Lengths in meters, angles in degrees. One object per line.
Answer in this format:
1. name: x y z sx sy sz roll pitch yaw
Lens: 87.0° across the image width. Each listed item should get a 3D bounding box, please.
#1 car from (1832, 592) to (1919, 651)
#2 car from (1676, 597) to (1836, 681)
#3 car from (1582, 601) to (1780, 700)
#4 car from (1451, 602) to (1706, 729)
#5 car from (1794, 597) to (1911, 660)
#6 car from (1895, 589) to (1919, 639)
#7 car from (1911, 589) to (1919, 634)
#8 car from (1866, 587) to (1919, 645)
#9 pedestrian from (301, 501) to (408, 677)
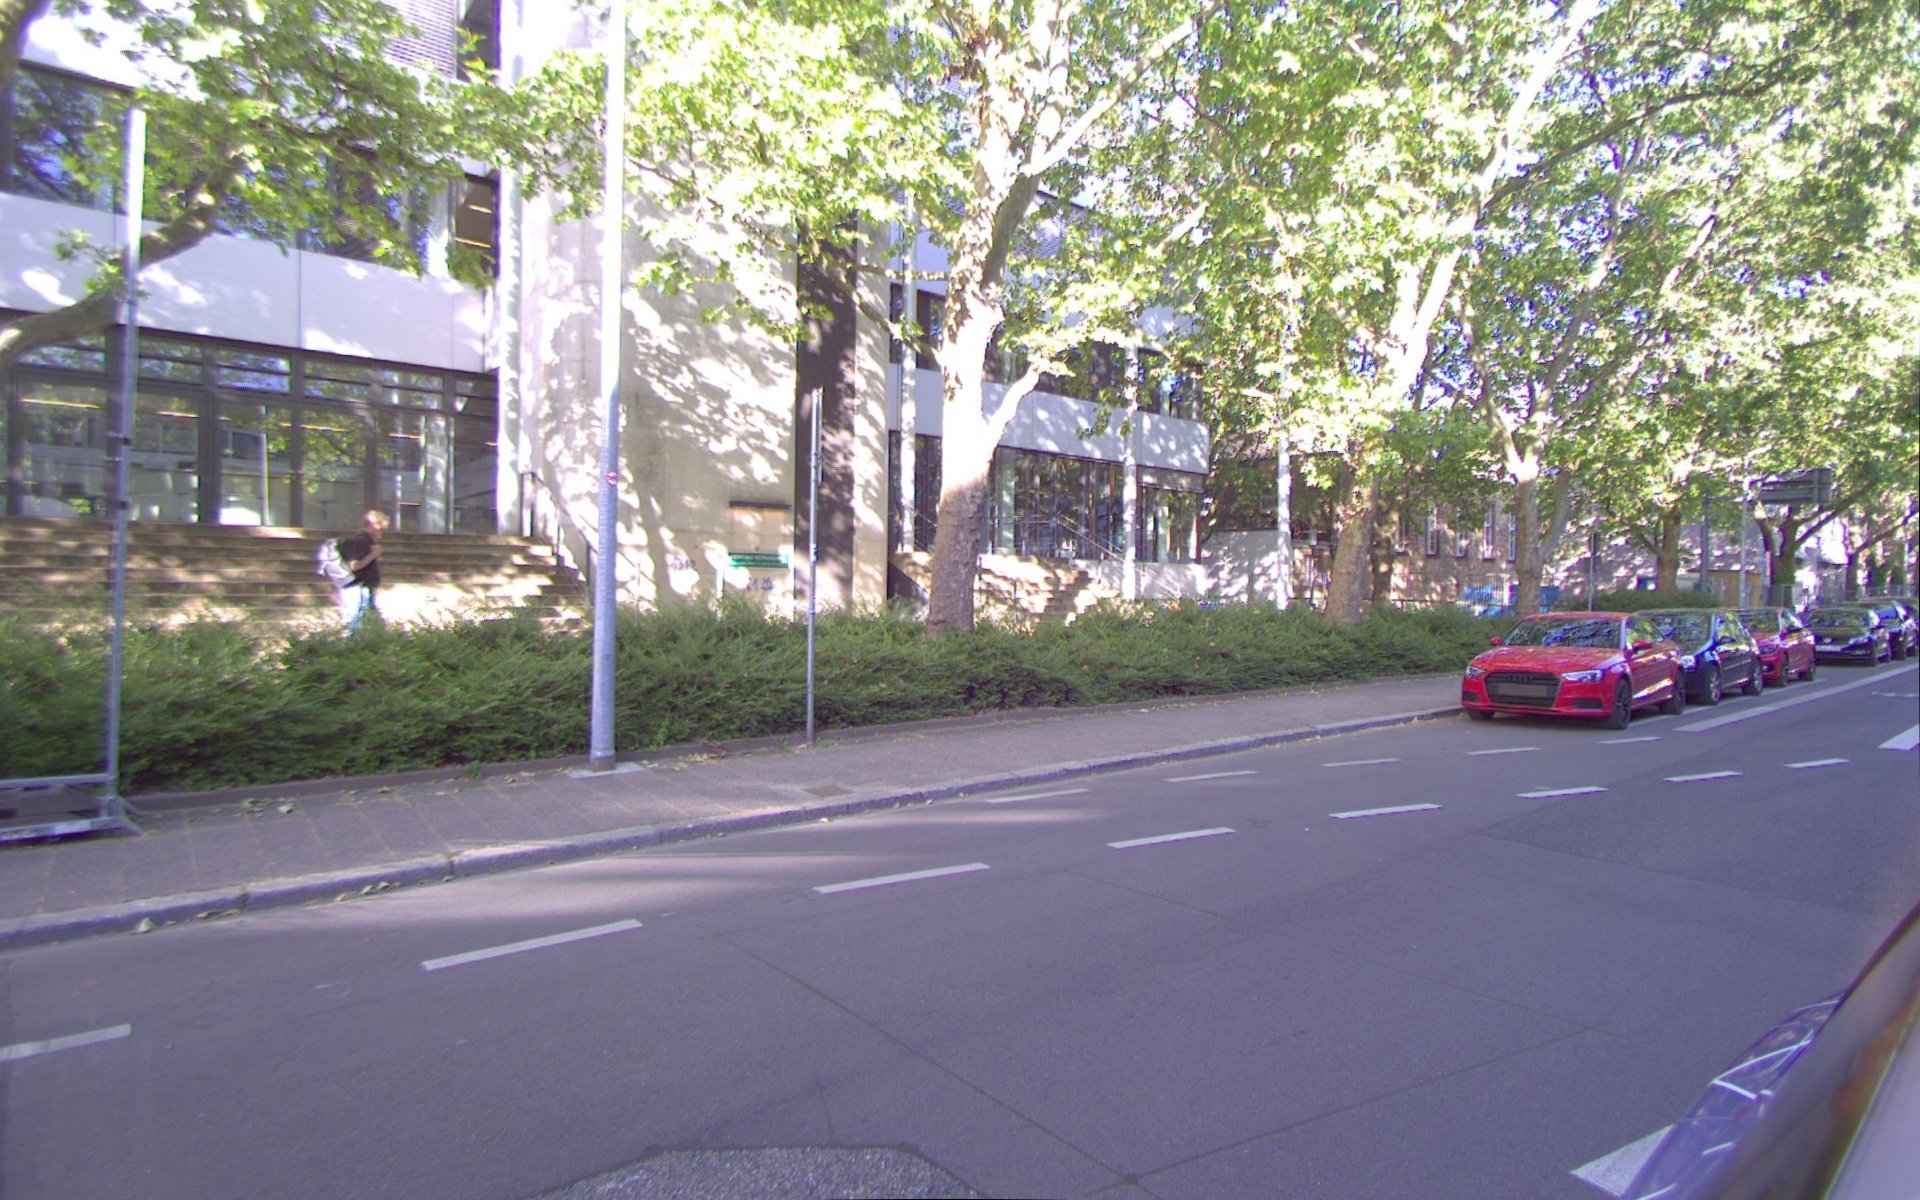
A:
1. car: 26.599 0.587 29.124 4.092 1.573 1.788 0 -1 -42
2. car: 15.861 0.700 20.100 4.092 1.502 1.815 0 -1 -42
3. car: 11.956 0.738 16.679 4.092 1.431 1.815 0 -1 -42
4. car: 8.362 0.752 13.540 4.092 1.431 1.815 0 -1 -42
5. car: 23.054 0.678 26.093 4.092 1.478 1.788 0 -1 -42
6. car: 35.913 0.482 37.242 4.475 1.777 1.788 0 -1 -42
7. car: 39.630 0.437 40.392 4.475 1.777 2.040 0 -1 -42
8. car: 31.060 0.487 33.007 4.271 1.777 1.788 0 -1 -42
9. pedestrian: -6.528 -0.120 10.912 0.848 1.803 0.785 0 0 -42
